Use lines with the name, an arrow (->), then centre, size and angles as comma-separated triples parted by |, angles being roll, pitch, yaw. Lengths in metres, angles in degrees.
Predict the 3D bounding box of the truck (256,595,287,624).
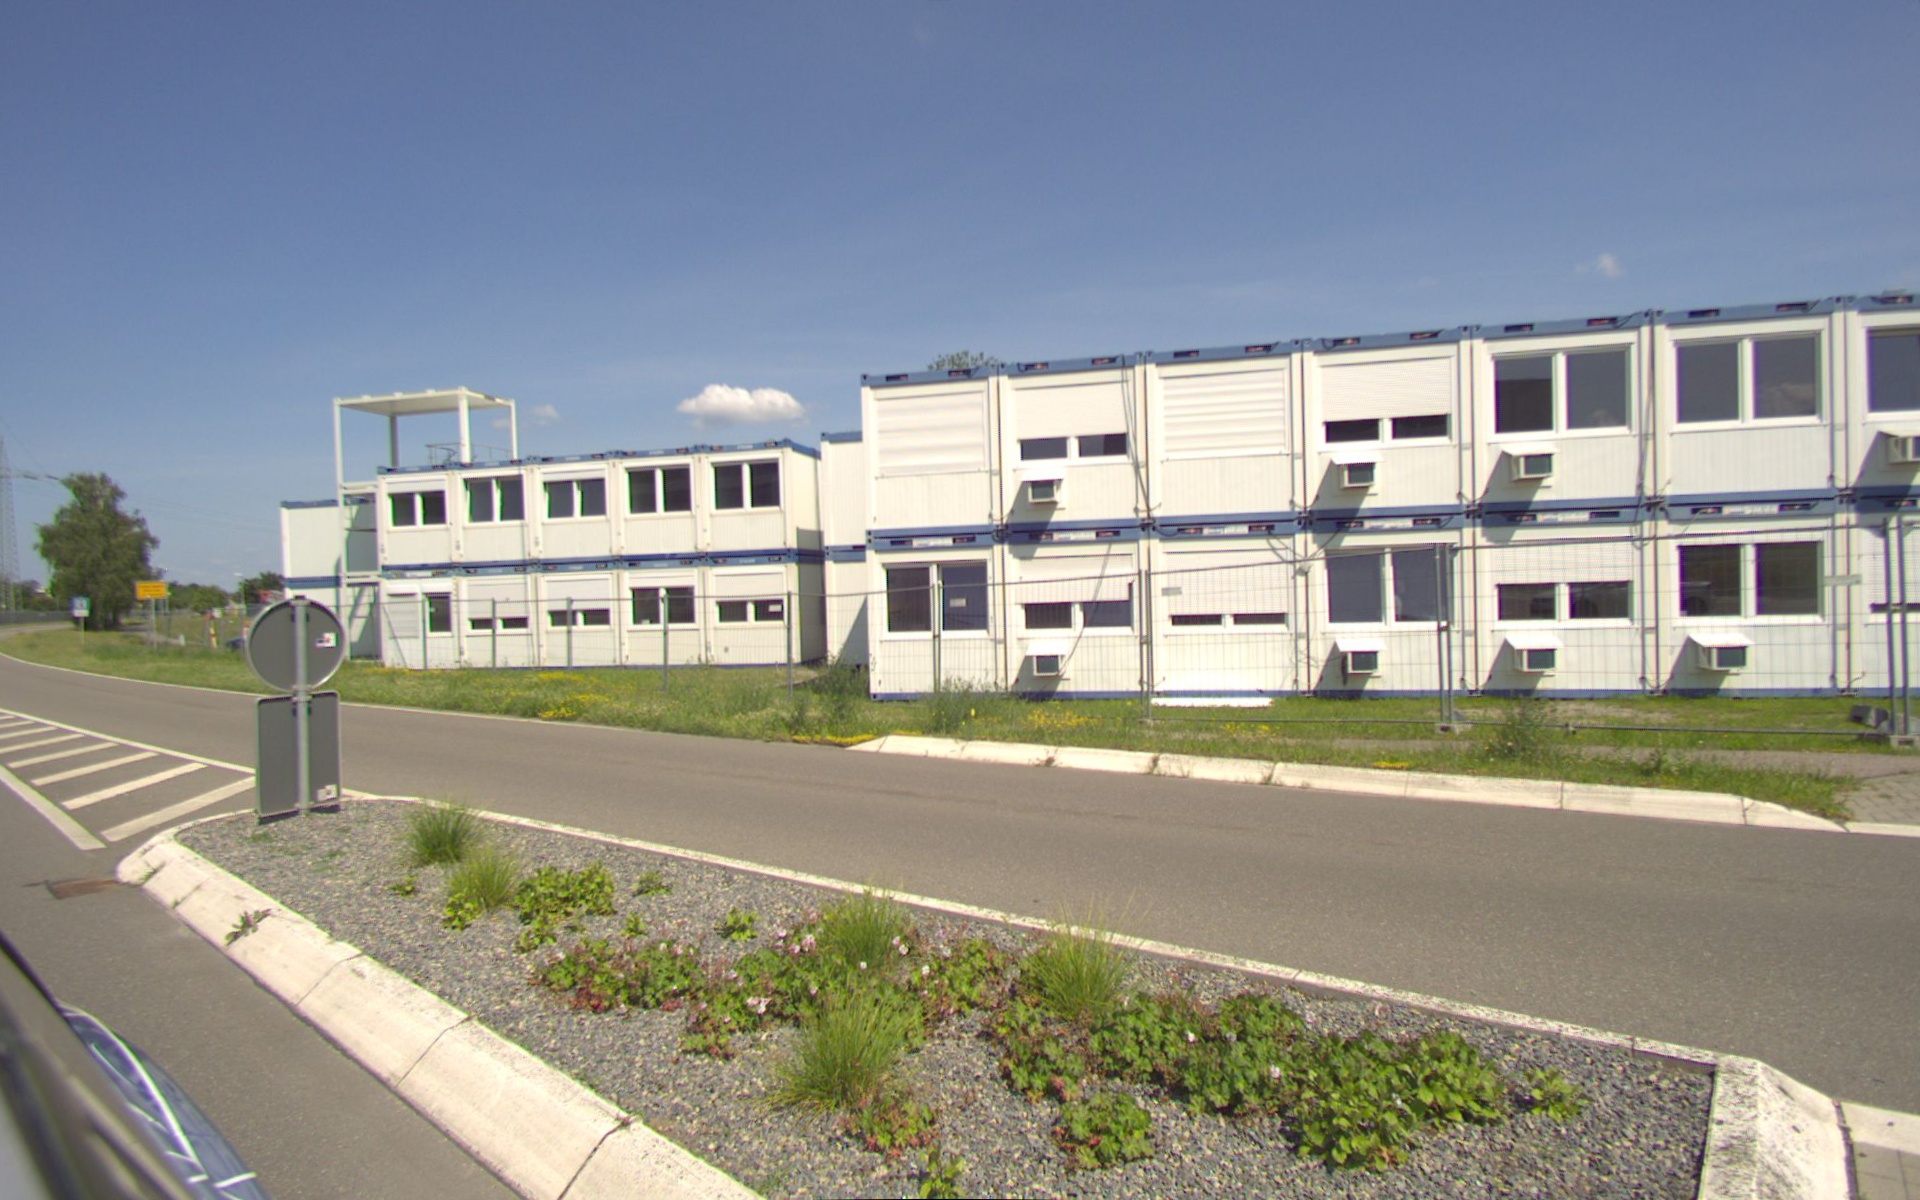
truck -> -91.558, 1.213, 134.491 | 3.060, 3.672, 10.619 | -1, 0, -36

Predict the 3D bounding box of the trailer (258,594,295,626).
trailer -> -83.992, 1.143, 124.200 | 3.247, 3.672, 14.960 | -1, 0, -36

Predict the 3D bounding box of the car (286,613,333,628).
car -> -66.713, 2.096, 103.778 | 3.935, 1.353, 1.751 | -2, 1, -36

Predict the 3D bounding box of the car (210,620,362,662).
car -> -28.393, 1.698, 42.802 | 1.994, 1.427, 4.931 | -2, 0, 32
